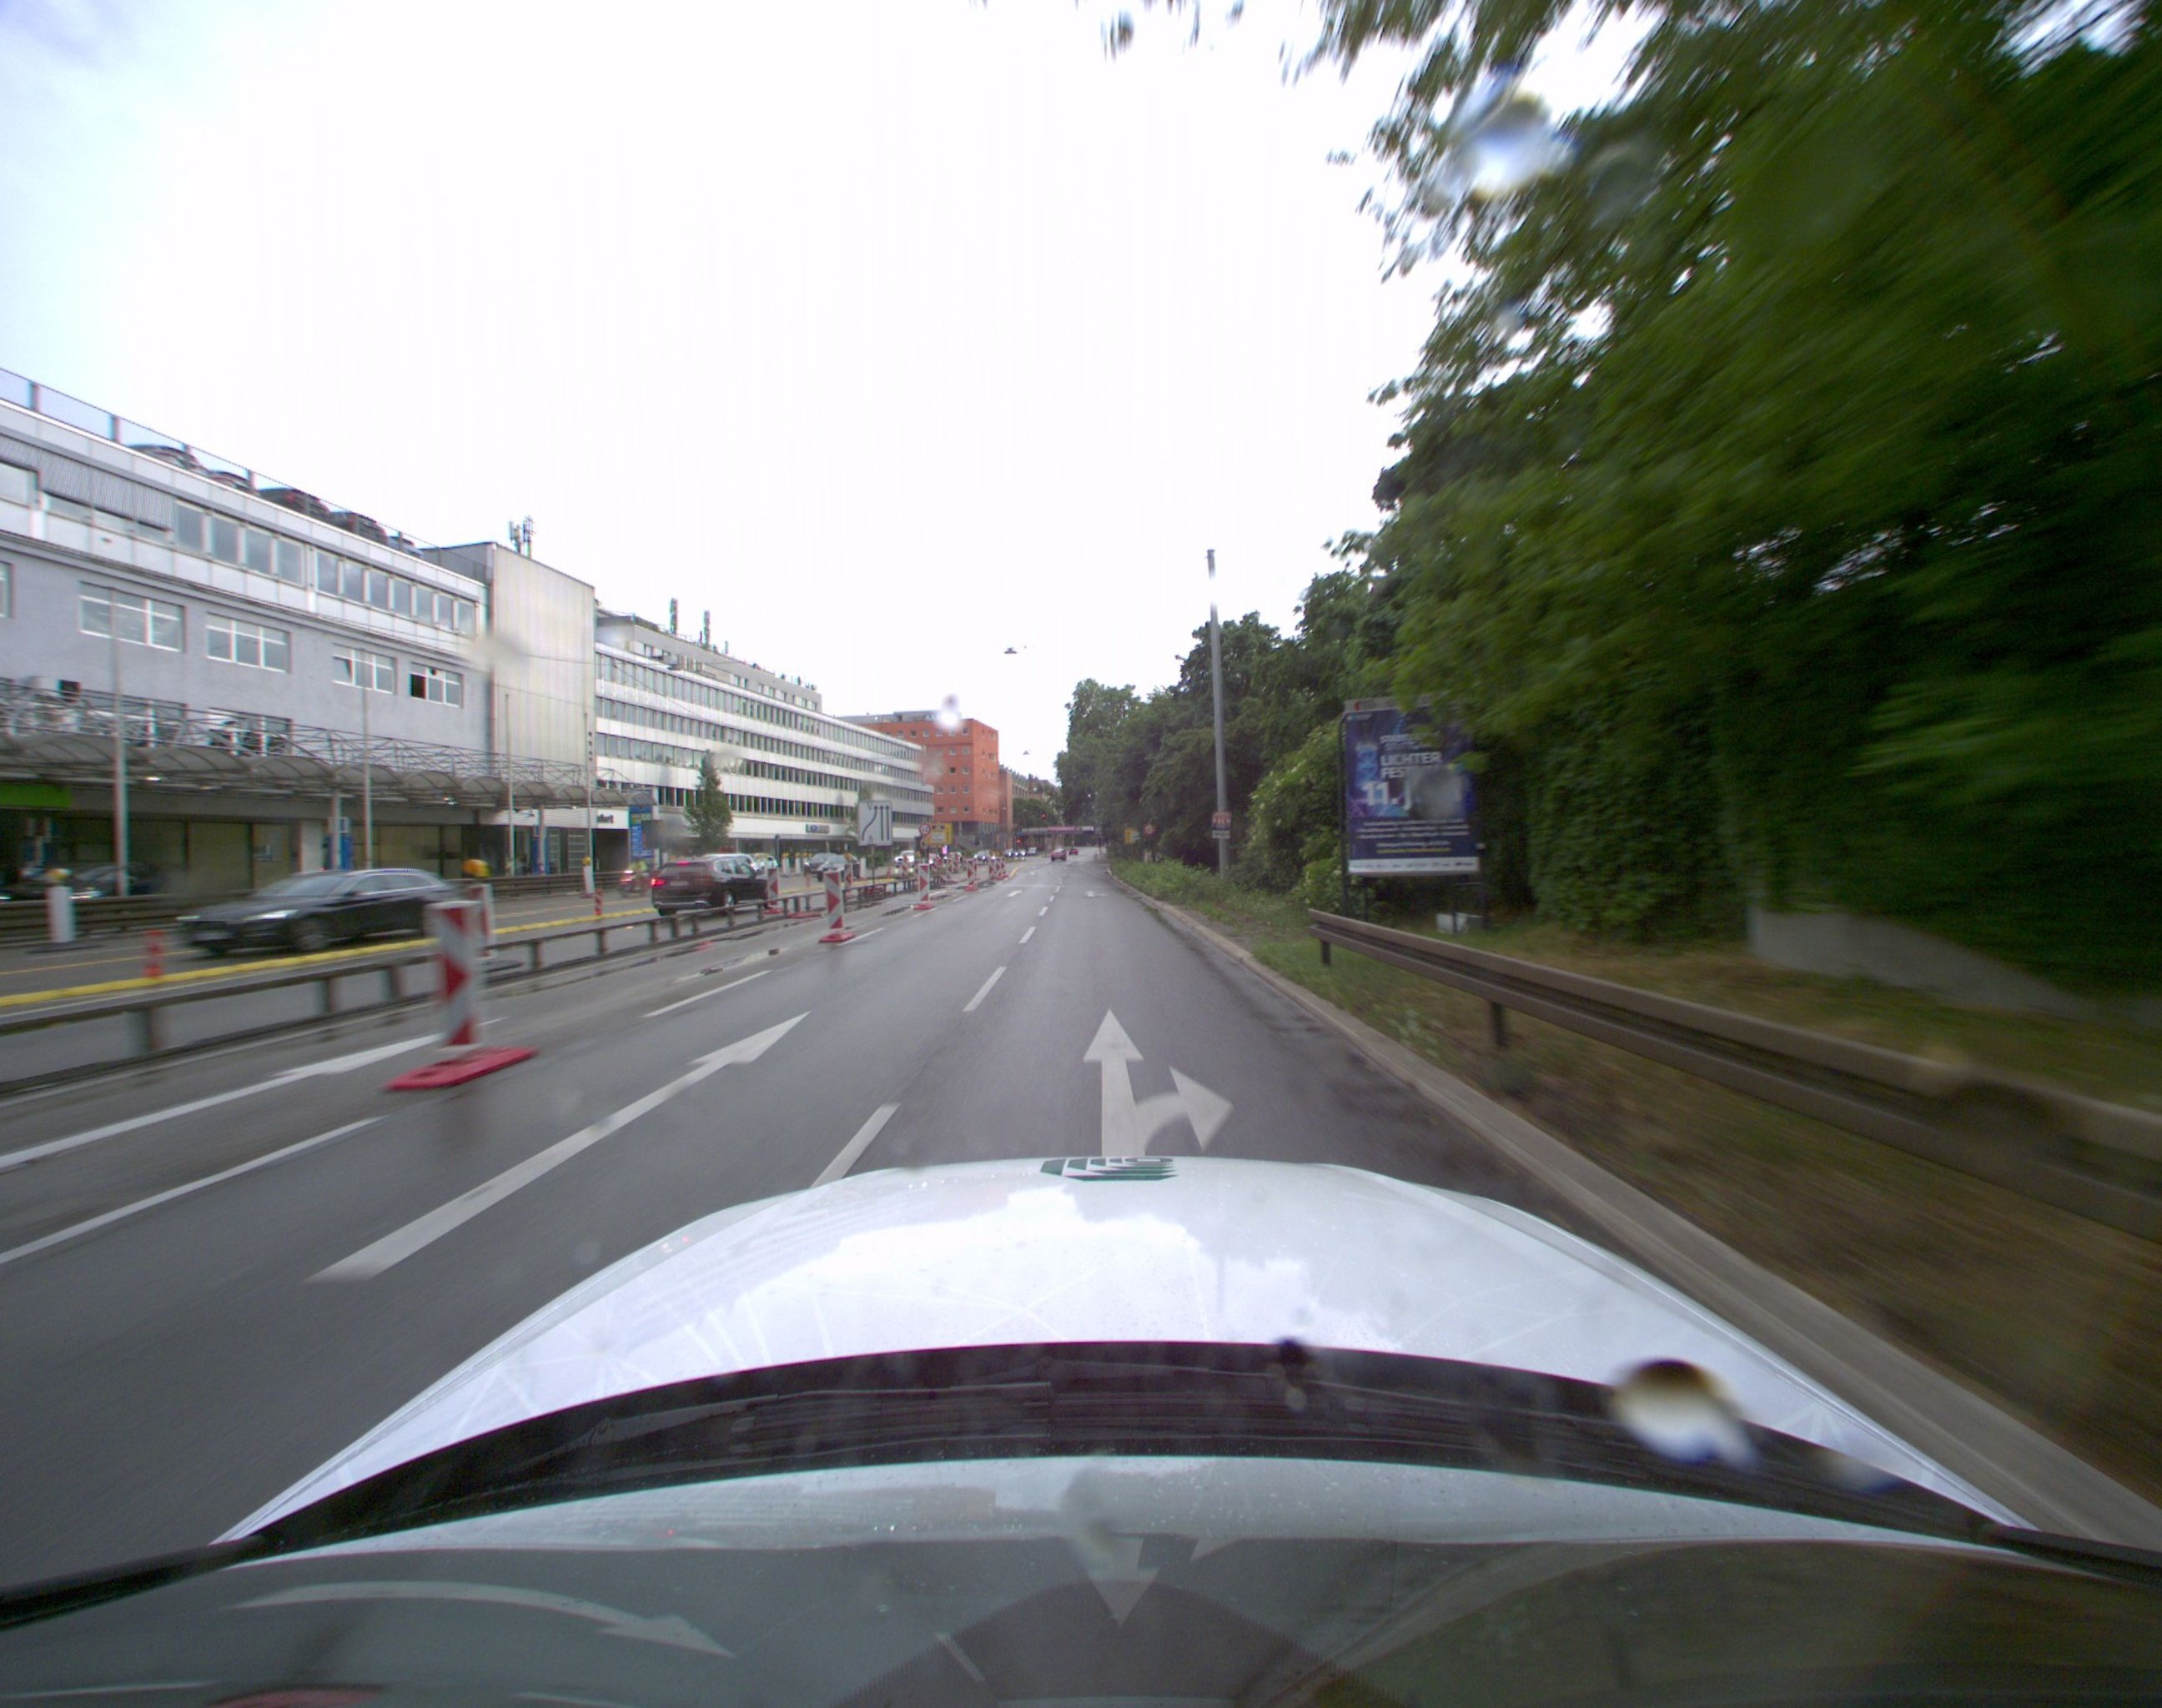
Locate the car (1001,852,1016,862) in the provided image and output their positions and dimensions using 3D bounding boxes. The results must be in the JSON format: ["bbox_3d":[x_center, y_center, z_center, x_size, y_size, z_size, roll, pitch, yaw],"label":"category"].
[{"bbox_3d":[-12.905,0.518,145.398,1.836,1.737,4.613,-1,0,6],"label":"car"}]

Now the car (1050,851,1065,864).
[{"bbox_3d":[-3.490,0.552,122.016,2.114,1.734,4.198,1,1,0],"label":"car"}]

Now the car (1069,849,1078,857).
[{"bbox_3d":[-1.599,-0.299,181.921,1.756,1.697,3.708,-2,0,2],"label":"car"}]

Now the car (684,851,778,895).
[{"bbox_3d":[-14.730,0.759,34.574,1.932,1.689,4.580,-2,0,0],"label":"car"}]

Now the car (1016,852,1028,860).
[{"bbox_3d":[-11.500,0.386,159.076,1.821,1.502,4.377,-2,0,4],"label":"car"}]

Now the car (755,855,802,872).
[{"bbox_3d":[-32.374,1.028,87.142,4.403,1.652,1.835,-2,0,-34],"label":"car"}]

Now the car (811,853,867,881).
[{"bbox_3d":[-14.105,0.729,47.665,1.952,1.521,4.300,-1,0,0],"label":"car"}]

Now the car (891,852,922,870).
[{"bbox_3d":[-17.392,0.641,81.309,1.973,1.707,4.830,-1,0,0],"label":"car"}]

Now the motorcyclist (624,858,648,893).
[{"bbox_3d":[-17.804,0.849,32.598,0.586,1.363,0.561,-2,0,0],"label":"motorcyclist"}]

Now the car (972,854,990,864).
[{"bbox_3d":[-15.034,0.751,122.608,1.798,1.558,4.309,-1,0,7],"label":"car"}]

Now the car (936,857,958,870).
[{"bbox_3d":[-16.869,1.184,102.807,1.743,1.513,4.007,-2,-1,6],"label":"car"}]

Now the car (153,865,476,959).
[{"bbox_3d":[-14.687,1.008,16.099,1.845,1.466,4.708,-2,0,1],"label":"car"}]

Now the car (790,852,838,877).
[{"bbox_3d":[-17.395,0.665,53.246,1.705,1.536,4.077,-2,0,0],"label":"car"}]

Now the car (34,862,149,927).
[{"bbox_3d":[-29.495,1.182,24.387,4.422,1.679,2.027,-3,0,41],"label":"car"}]

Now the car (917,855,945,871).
[{"bbox_3d":[-13.790,0.773,74.976,1.730,1.404,4.288,0,0,0],"label":"car"}]

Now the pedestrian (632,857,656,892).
[{"bbox_3d":[-17.793,0.836,33.162,0.586,1.363,0.561,-2,0,0],"label":"pedestrian"}]

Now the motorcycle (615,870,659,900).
[{"bbox_3d":[-17.855,1.217,32.817,0.577,1.102,2.028,-2,0,1],"label":"motorcycle"}]

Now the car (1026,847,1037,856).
[{"bbox_3d":[-10.479,-0.496,173.224,1.726,1.786,4.305,-2,0,3],"label":"car"}]

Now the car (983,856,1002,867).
[{"bbox_3d":[-11.984,1.008,110.746,1.680,1.354,4.123,-2,0,7],"label":"car"}]

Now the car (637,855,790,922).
[{"bbox_3d":[-10.363,0.887,23.427,1.938,1.597,4.677,1,1,5],"label":"car"}]

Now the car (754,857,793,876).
[{"bbox_3d":[-26.927,1.096,71.366,1.644,1.535,3.762,-2,0,6],"label":"car"}]
